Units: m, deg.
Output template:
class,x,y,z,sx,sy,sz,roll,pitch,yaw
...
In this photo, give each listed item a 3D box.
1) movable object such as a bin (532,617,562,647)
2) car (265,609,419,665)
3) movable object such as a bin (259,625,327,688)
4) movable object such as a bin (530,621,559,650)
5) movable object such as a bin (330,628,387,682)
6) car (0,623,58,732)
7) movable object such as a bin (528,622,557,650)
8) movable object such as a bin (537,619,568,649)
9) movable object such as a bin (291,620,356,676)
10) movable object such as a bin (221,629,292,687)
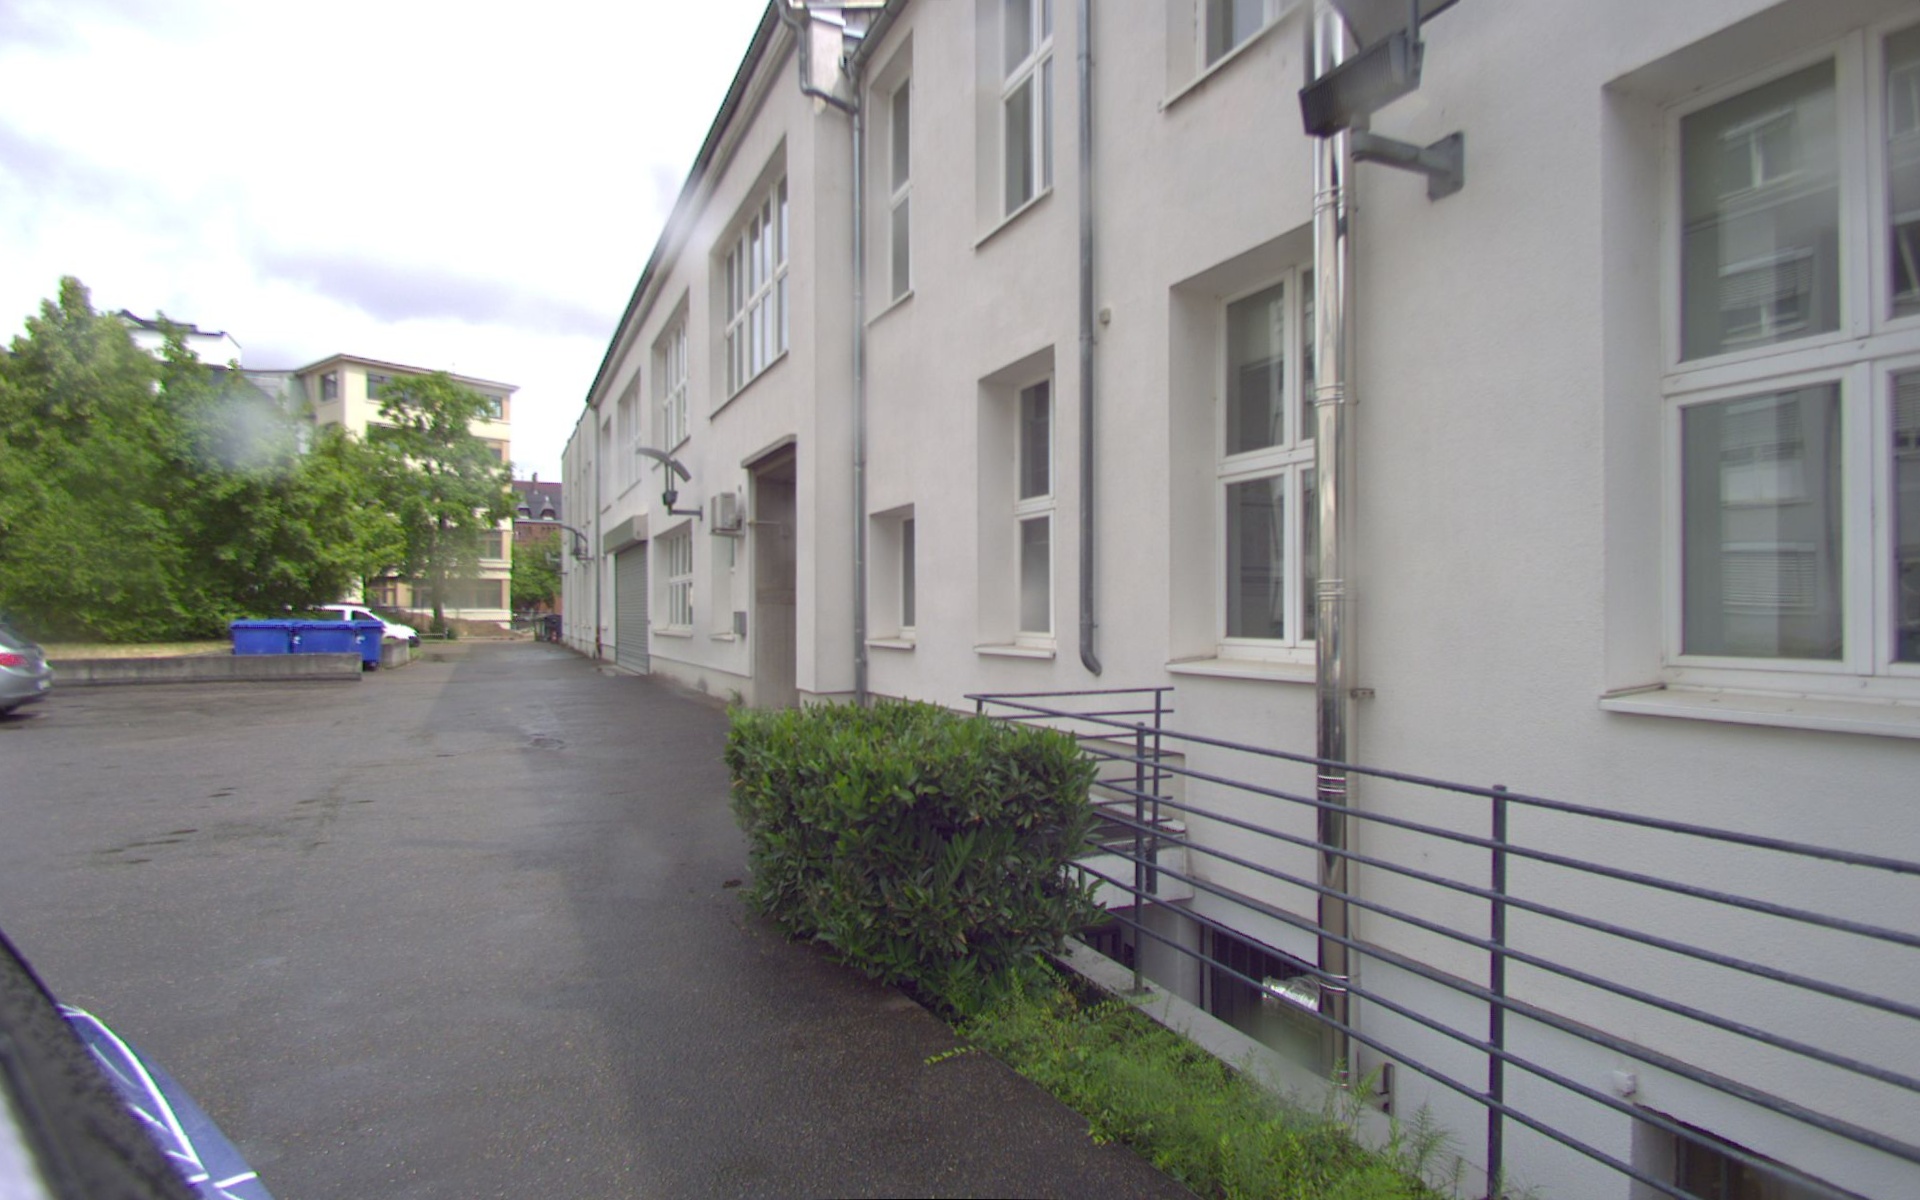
class,x,y,z,sx,sy,sz,roll,pitch,yaw
movable object such as a bin,-21.605,1.656,52.974,1.340,1.482,1.370,-2,-1,-26
car,-24.091,1.409,39.685,4.867,2.029,2.007,-1,0,-22
movable object such as a bin,-16.783,1.401,25.512,1.257,1.494,1.105,-2,-1,-26
movable object such as a bin,-22.798,1.936,55.508,1.340,1.482,1.470,-2,-1,-26
movable object such as a bin,-15.742,1.429,26.516,1.158,1.327,1.059,-2,-1,-26
car,-15.144,1.060,13.747,4.023,1.469,1.673,1,0,-29
movable object such as a bin,-23.557,2.008,57.038,1.389,1.482,1.566,-2,-1,-26
movable object such as a bin,-20.724,1.719,51.466,1.340,1.482,1.370,-2,-1,-26
movable object such as a bin,-15.467,1.154,24.619,1.212,1.327,1.059,0,-2,-26
movable object such as a bin,-16.672,1.348,24.013,1.212,1.327,1.059,0,-2,-26
